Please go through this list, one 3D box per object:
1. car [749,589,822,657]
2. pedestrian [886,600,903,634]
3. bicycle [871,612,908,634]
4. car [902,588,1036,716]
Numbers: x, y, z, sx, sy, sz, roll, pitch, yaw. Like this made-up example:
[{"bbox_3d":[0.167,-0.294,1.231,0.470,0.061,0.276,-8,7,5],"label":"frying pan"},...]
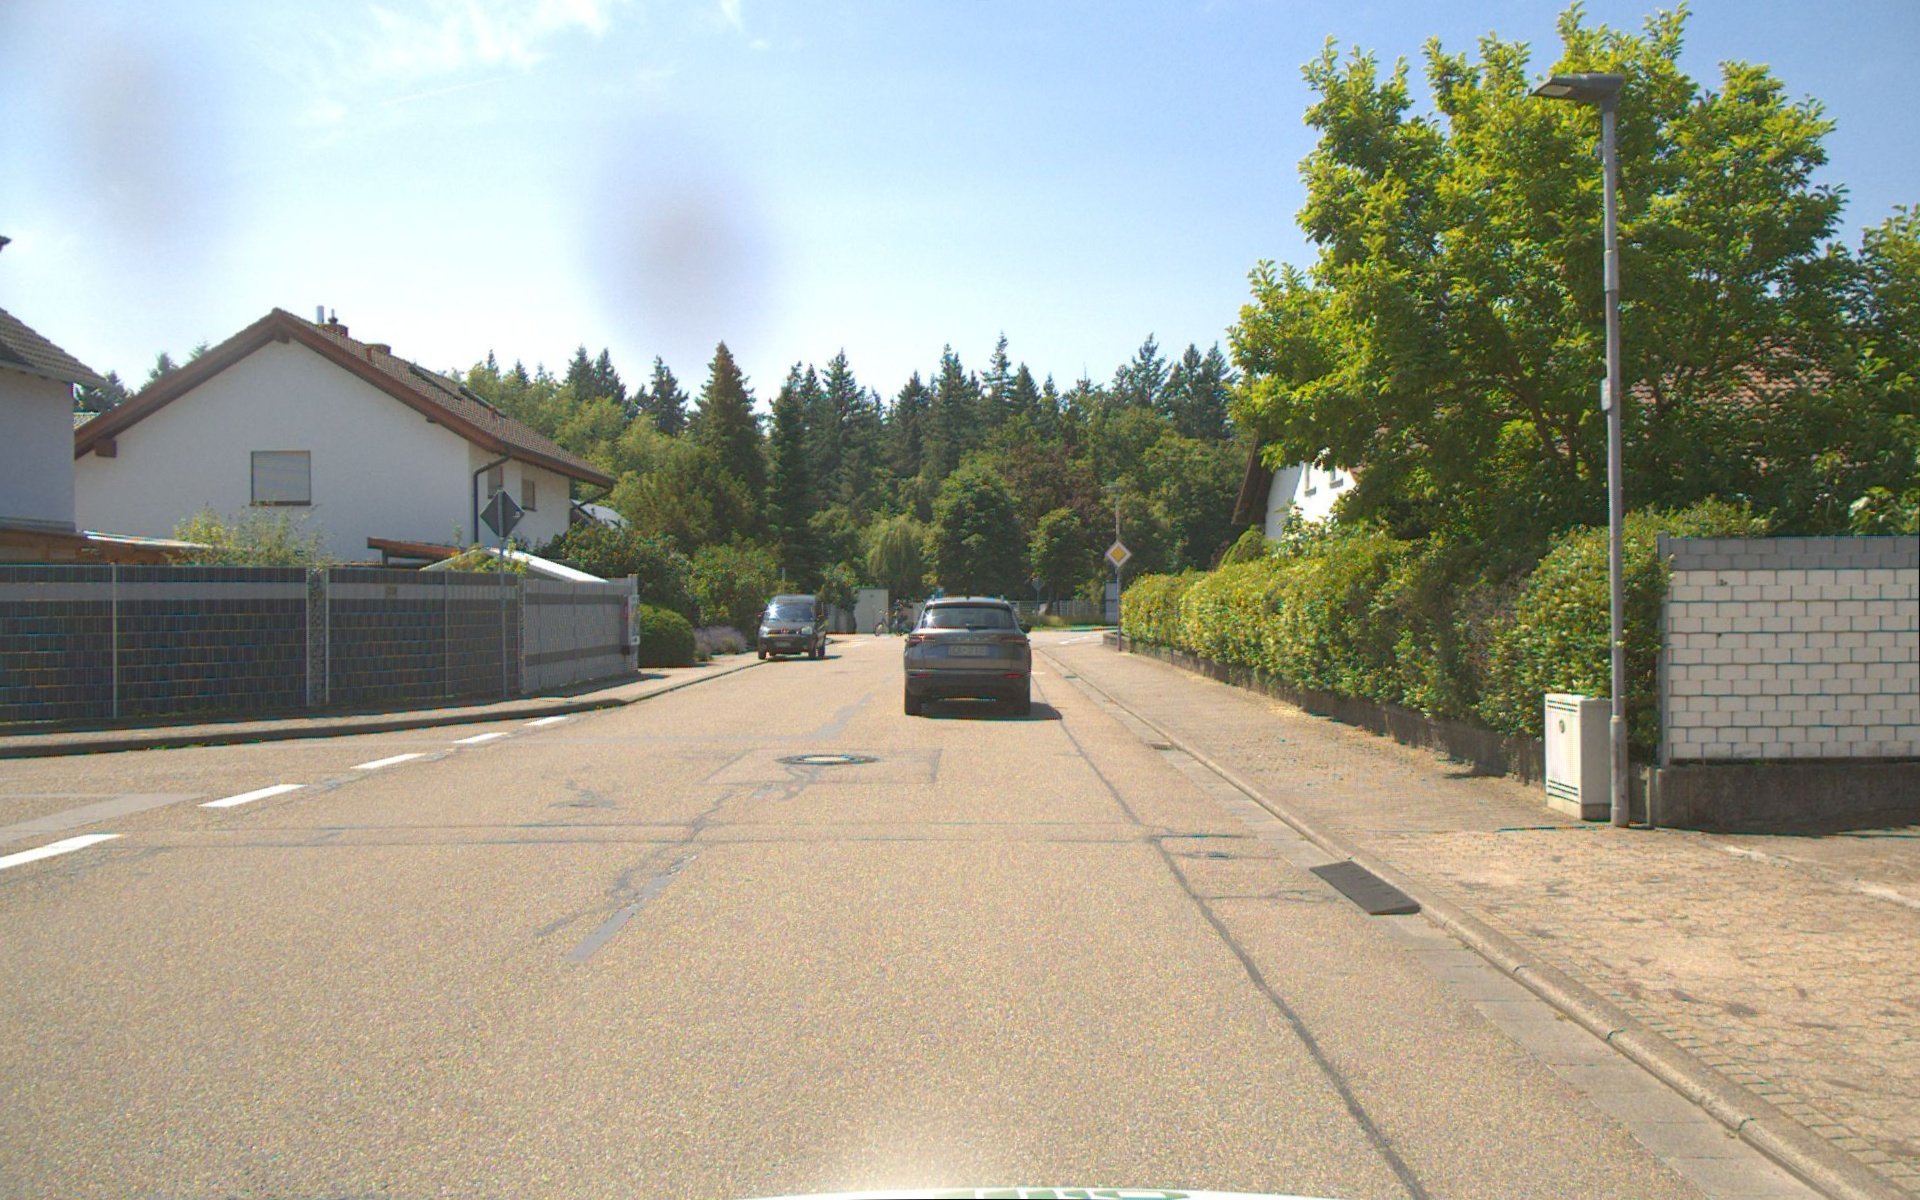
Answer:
[{"bbox_3d":[-4.957,0.653,47.354,1.683,1.878,4.053,0,-1,-1],"label":"car"},{"bbox_3d":[-2.951,0.775,74.964,0.606,1.527,0.497,1,-1,-40],"label":"pedestrian"},{"bbox_3d":[-3.222,1.047,75.387,1.832,0.981,0.437,0,-1,-41],"label":"bicycle"},{"bbox_3d":[0.100,0.708,23.815,1.726,1.646,3.999,1,-1,-1],"label":"car"}]
